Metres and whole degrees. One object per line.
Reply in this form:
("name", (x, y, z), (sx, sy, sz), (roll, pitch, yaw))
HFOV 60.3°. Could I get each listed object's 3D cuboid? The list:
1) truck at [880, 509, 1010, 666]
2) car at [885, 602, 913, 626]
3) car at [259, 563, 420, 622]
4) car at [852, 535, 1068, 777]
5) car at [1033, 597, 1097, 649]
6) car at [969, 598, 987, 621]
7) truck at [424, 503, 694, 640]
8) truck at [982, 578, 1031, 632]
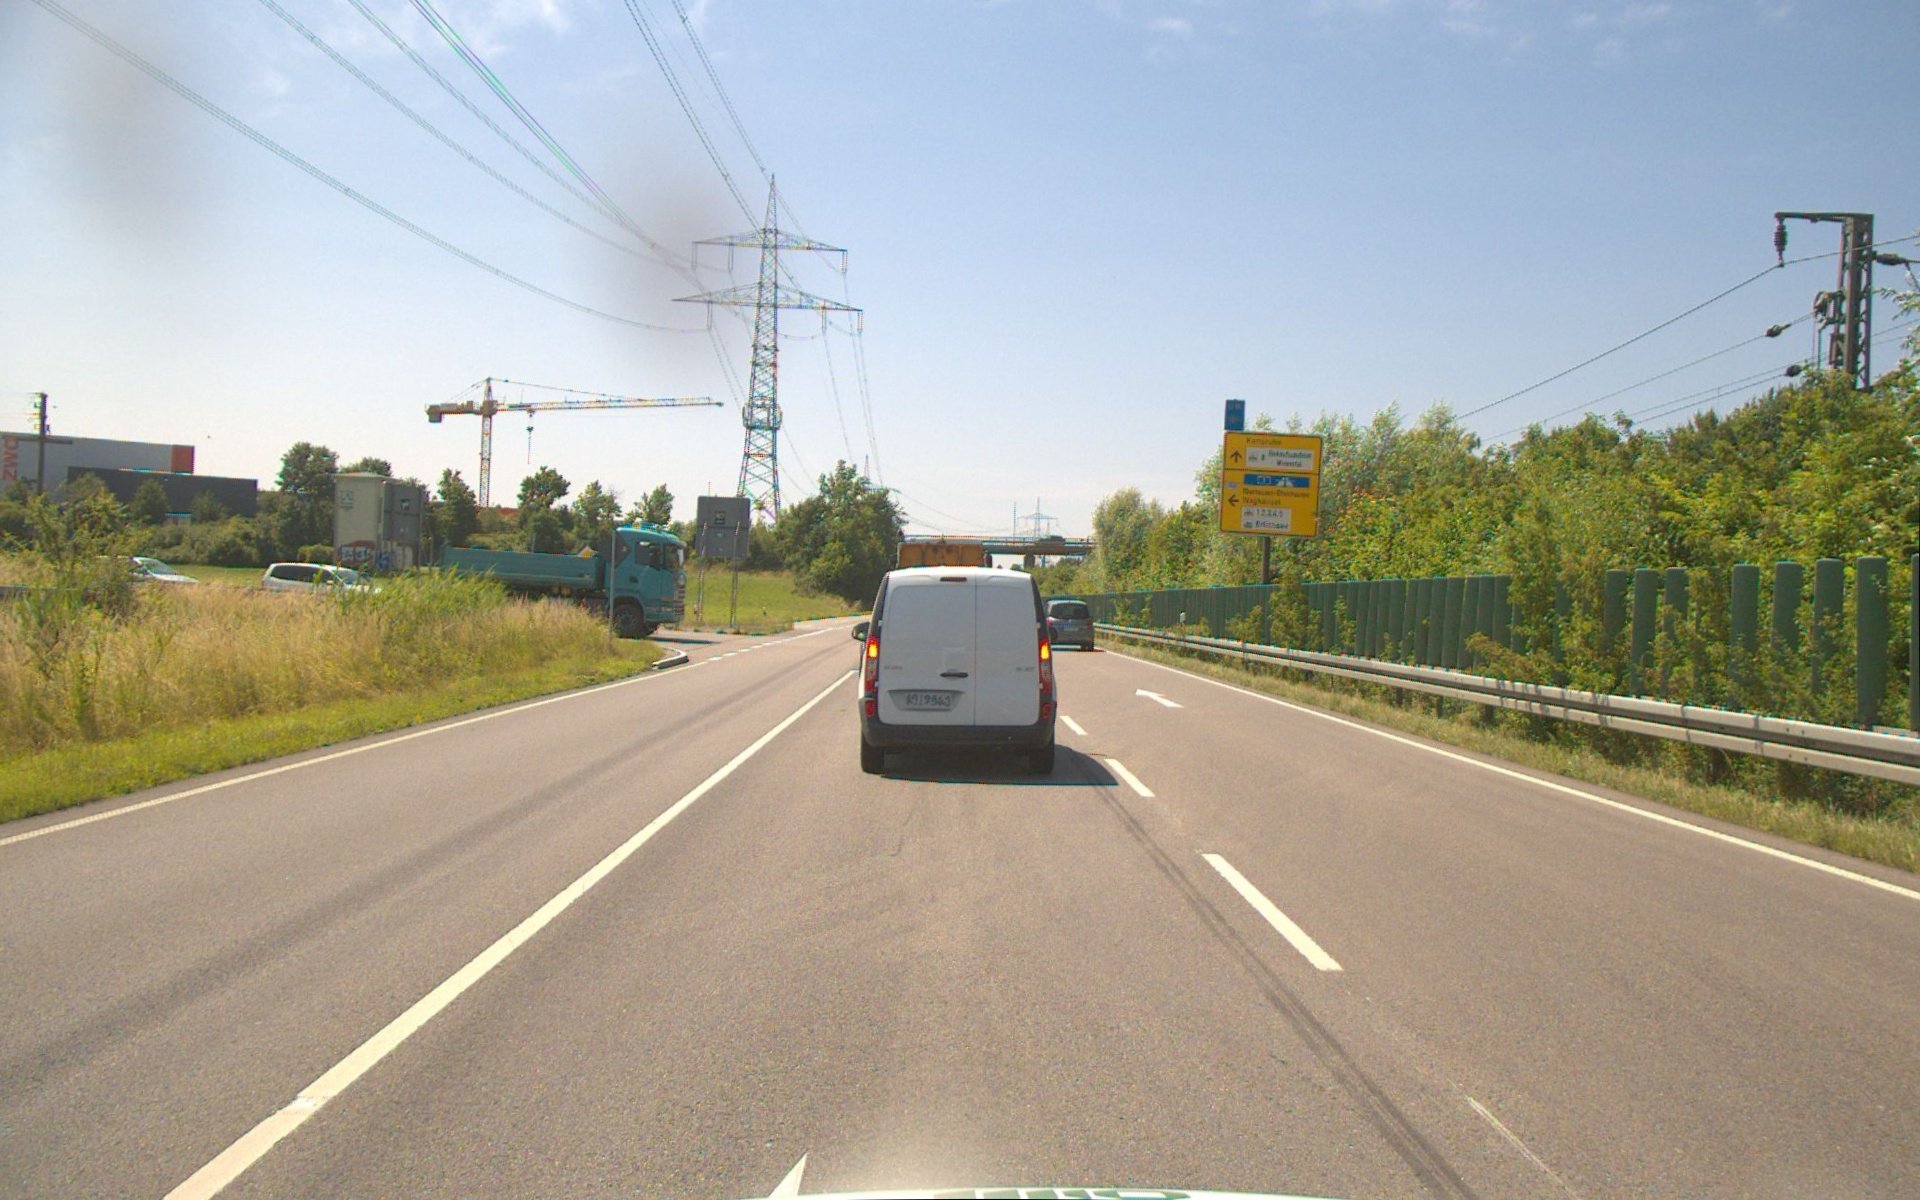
("truck", (-0.454, -0.324, 40.883), (2.763, 3.345, 9.698), (1, 1, -2))
("car", (-4.058, 0.920, 110.640), (1.690, 1.466, 4.248), (3, 0, 0))
("car", (-19.858, -0.241, 53.015), (4.445, 1.640, 1.969), (3, 0, 14))
("car", (-0.024, 0.473, 15.903), (1.790, 2.005, 3.999), (1, 0, -1))
("car", (3.409, 0.725, 54.059), (1.810, 1.601, 4.000), (1, 0, 0))
("car", (1.658, 0.888, 155.983), (1.527, 2.049, 3.588), (2, 0, -1))
("truck", (-12.687, -0.897, 52.732), (7.741, 3.799, 2.499), (3, 0, 2))
("truck", (2.490, 0.256, 90.589), (2.326, 2.736, 8.008), (2, 0, -1))
